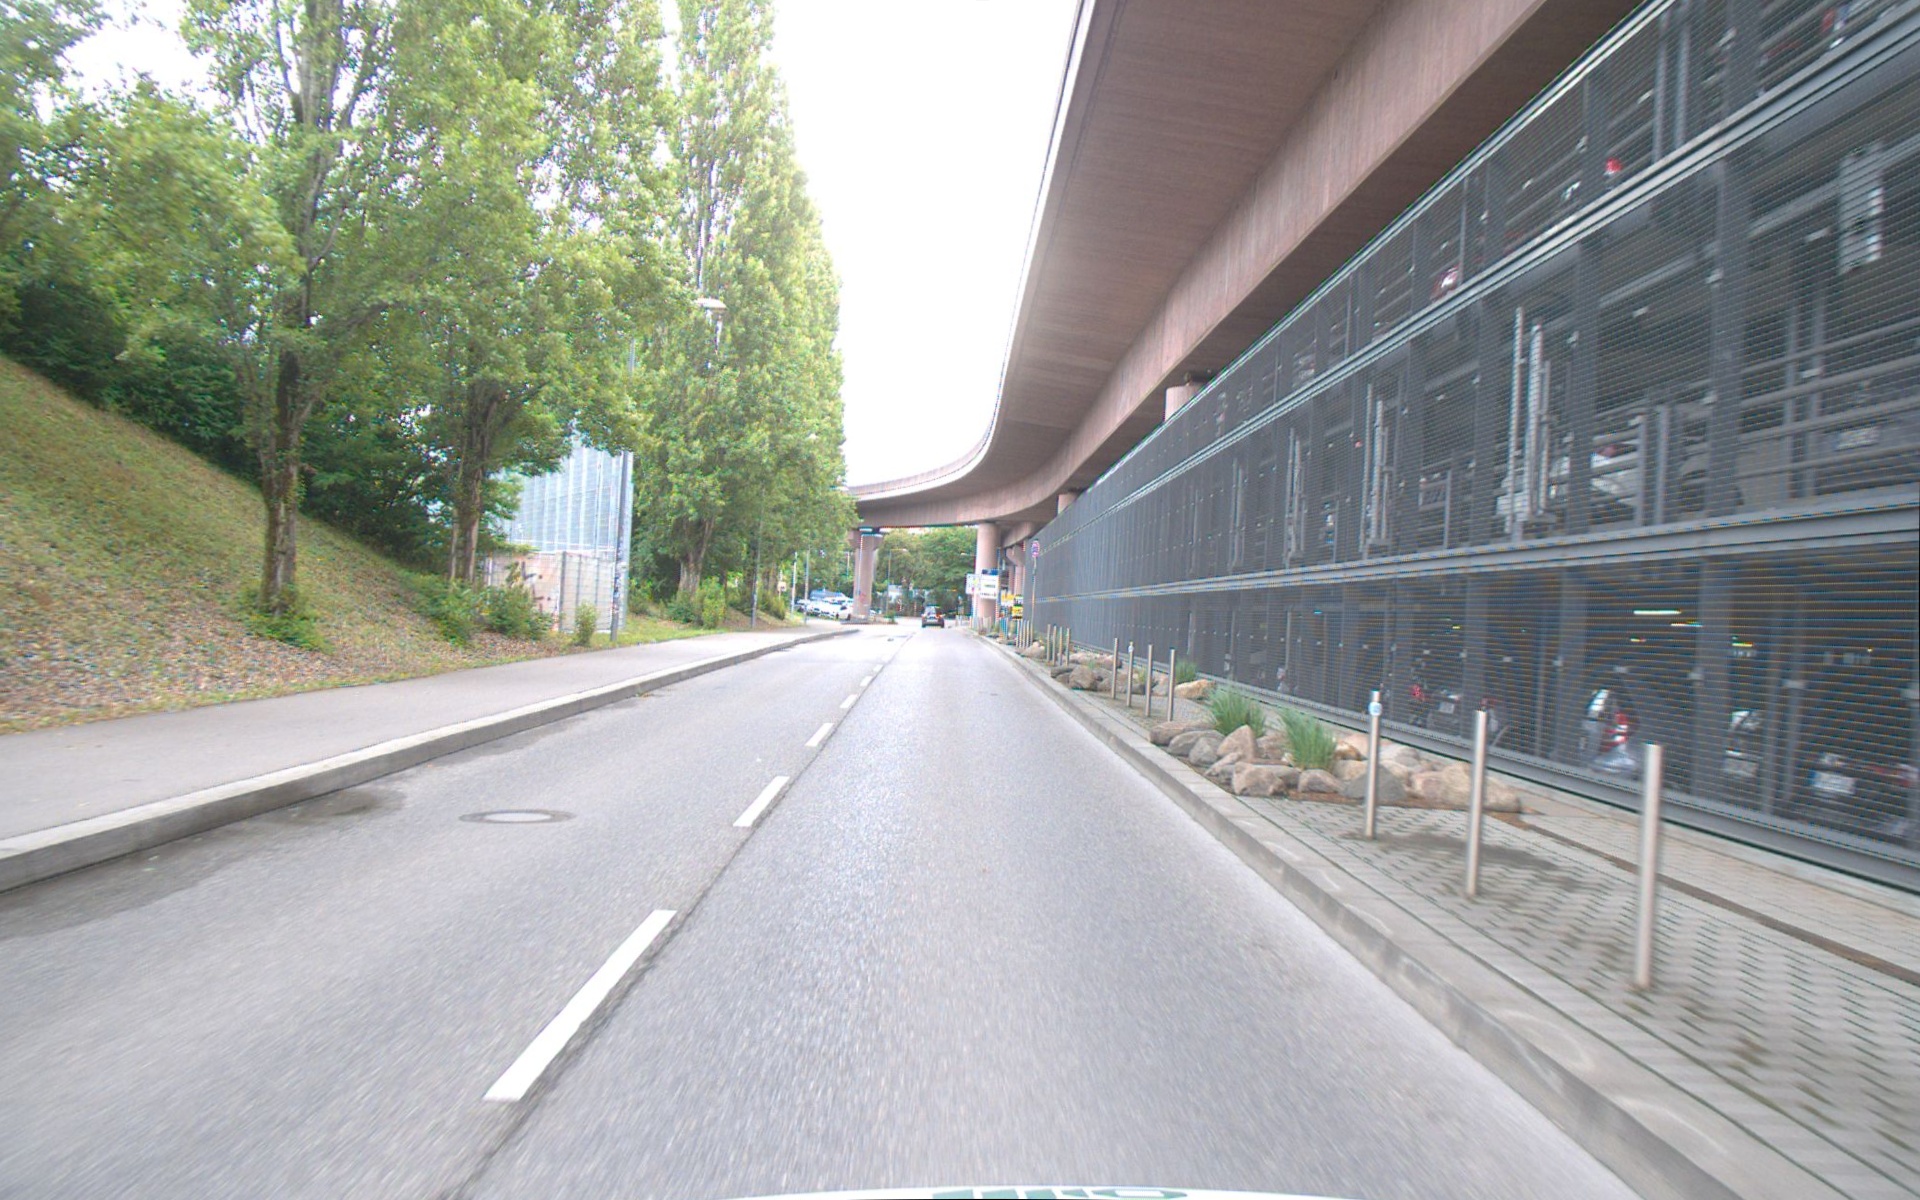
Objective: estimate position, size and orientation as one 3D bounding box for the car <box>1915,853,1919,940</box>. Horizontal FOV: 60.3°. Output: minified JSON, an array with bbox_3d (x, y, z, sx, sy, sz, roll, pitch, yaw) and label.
[{"bbox_3d":[7.560,1.354,8.762,3.906,1.492,1.810,4,0,-1],"label":"car"}]

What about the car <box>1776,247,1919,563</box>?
[{"bbox_3d":[7.833,-1.148,10.981,3.906,1.899,1.731,3,1,0],"label":"car"}]

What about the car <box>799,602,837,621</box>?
[{"bbox_3d":[-14.306,1.156,166.863,1.694,1.746,3.653,4,1,40],"label":"car"}]

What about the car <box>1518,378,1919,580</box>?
[{"bbox_3d":[7.763,-1.137,16.228,3.905,1.686,1.832,3,1,1],"label":"car"}]

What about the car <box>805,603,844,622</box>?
[{"bbox_3d":[-13.376,1.261,163.330,1.694,1.746,3.653,4,1,40],"label":"car"}]

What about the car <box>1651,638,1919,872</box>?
[{"bbox_3d":[7.804,1.270,13.449,3.568,1.647,1.725,4,0,-1],"label":"car"}]

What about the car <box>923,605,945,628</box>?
[{"bbox_3d":[-2.159,1.368,138.480,1.802,1.741,3.705,3,1,-1],"label":"car"}]

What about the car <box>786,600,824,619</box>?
[{"bbox_3d":[-15.909,0.984,170.159,1.775,1.746,3.653,4,1,40],"label":"car"}]

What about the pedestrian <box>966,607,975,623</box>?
[{"bbox_3d":[1.326,1.873,209.063,0.761,1.909,0.816,2,1,-32],"label":"pedestrian"}]

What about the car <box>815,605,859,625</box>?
[{"bbox_3d":[-11.796,1.477,159.088,1.851,1.746,4.131,4,1,40],"label":"car"}]

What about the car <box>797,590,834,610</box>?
[{"bbox_3d":[-16.714,-0.030,191.389,4.129,2.049,1.999,3,0,-2],"label":"car"}]
